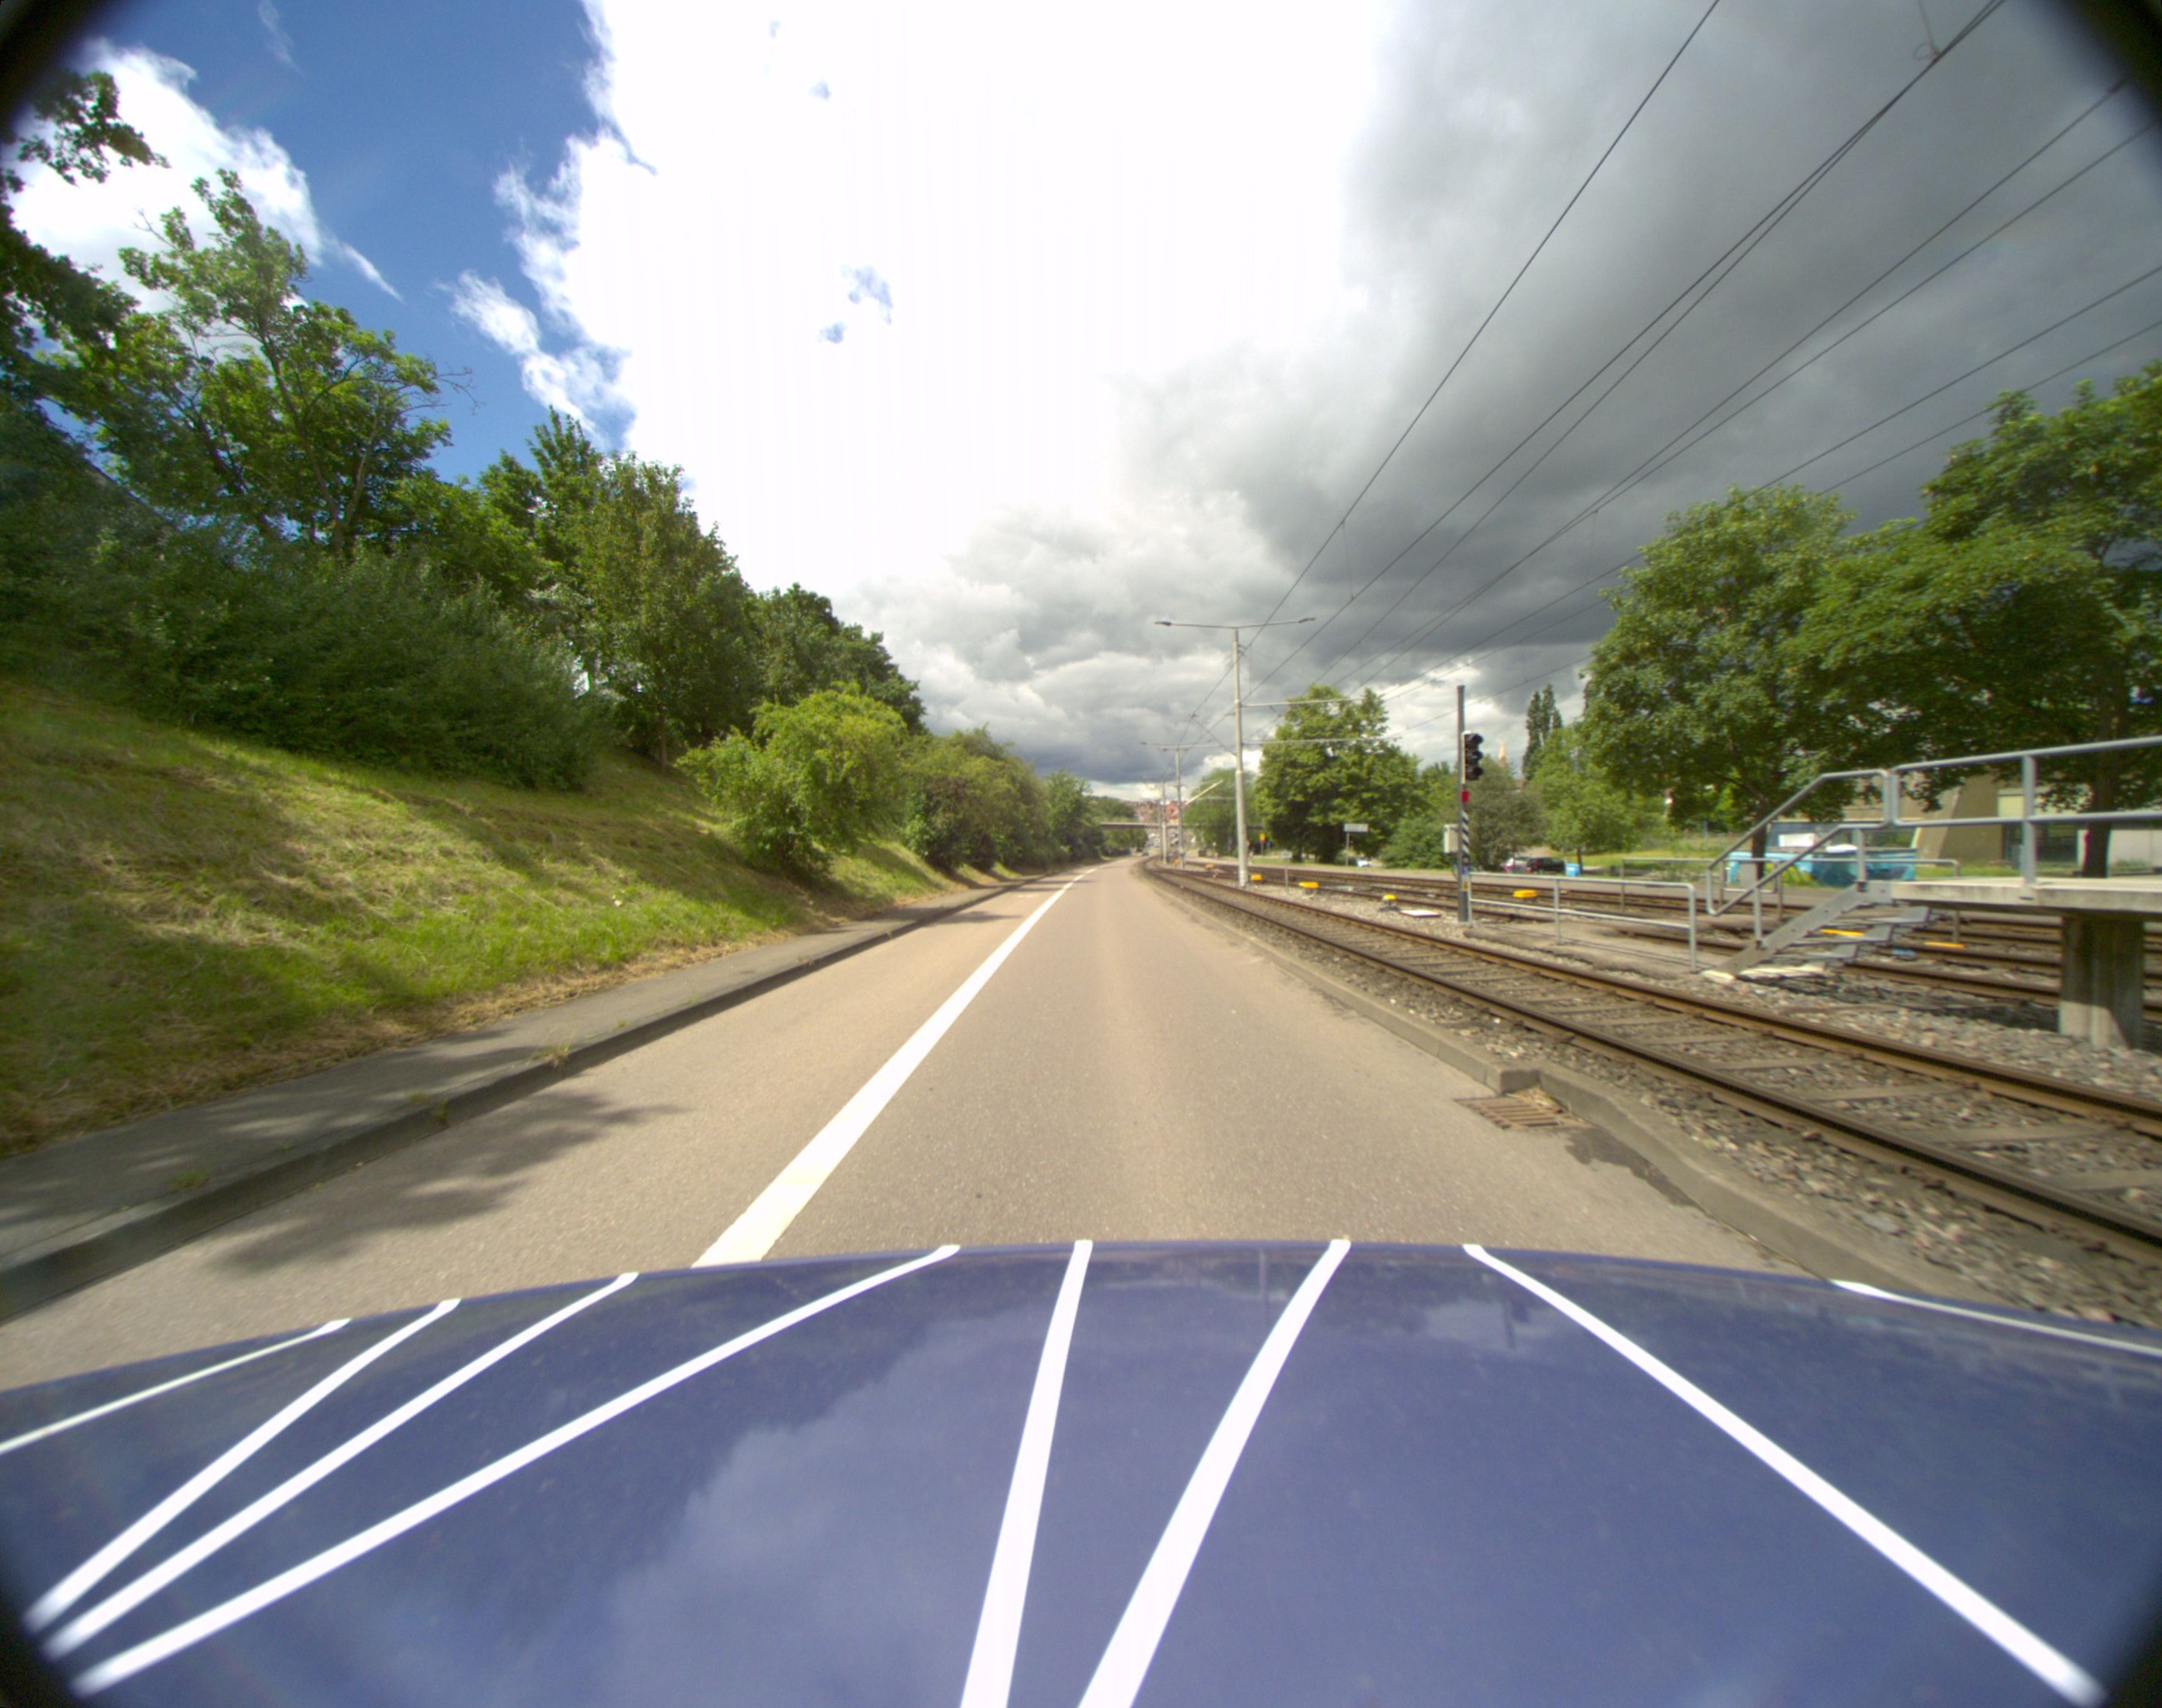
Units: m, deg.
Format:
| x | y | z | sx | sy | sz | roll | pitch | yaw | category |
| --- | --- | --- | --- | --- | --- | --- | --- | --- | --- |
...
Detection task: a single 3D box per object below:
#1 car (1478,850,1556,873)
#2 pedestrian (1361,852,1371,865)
| x | y | z | sx | sy | sz | roll | pitch | yaw | category |
| --- | --- | --- | --- | --- | --- | --- | --- | --- | --- |
| 27.434 | 0.445 | 47.935 | 3.928 | 1.401 | 1.761 | 0 | 1 | 13 | car |
| 31.739 | 0.509 | 84.711 | 0.822 | 1.488 | 0.682 | 0 | 1 | -23 | pedestrian |
